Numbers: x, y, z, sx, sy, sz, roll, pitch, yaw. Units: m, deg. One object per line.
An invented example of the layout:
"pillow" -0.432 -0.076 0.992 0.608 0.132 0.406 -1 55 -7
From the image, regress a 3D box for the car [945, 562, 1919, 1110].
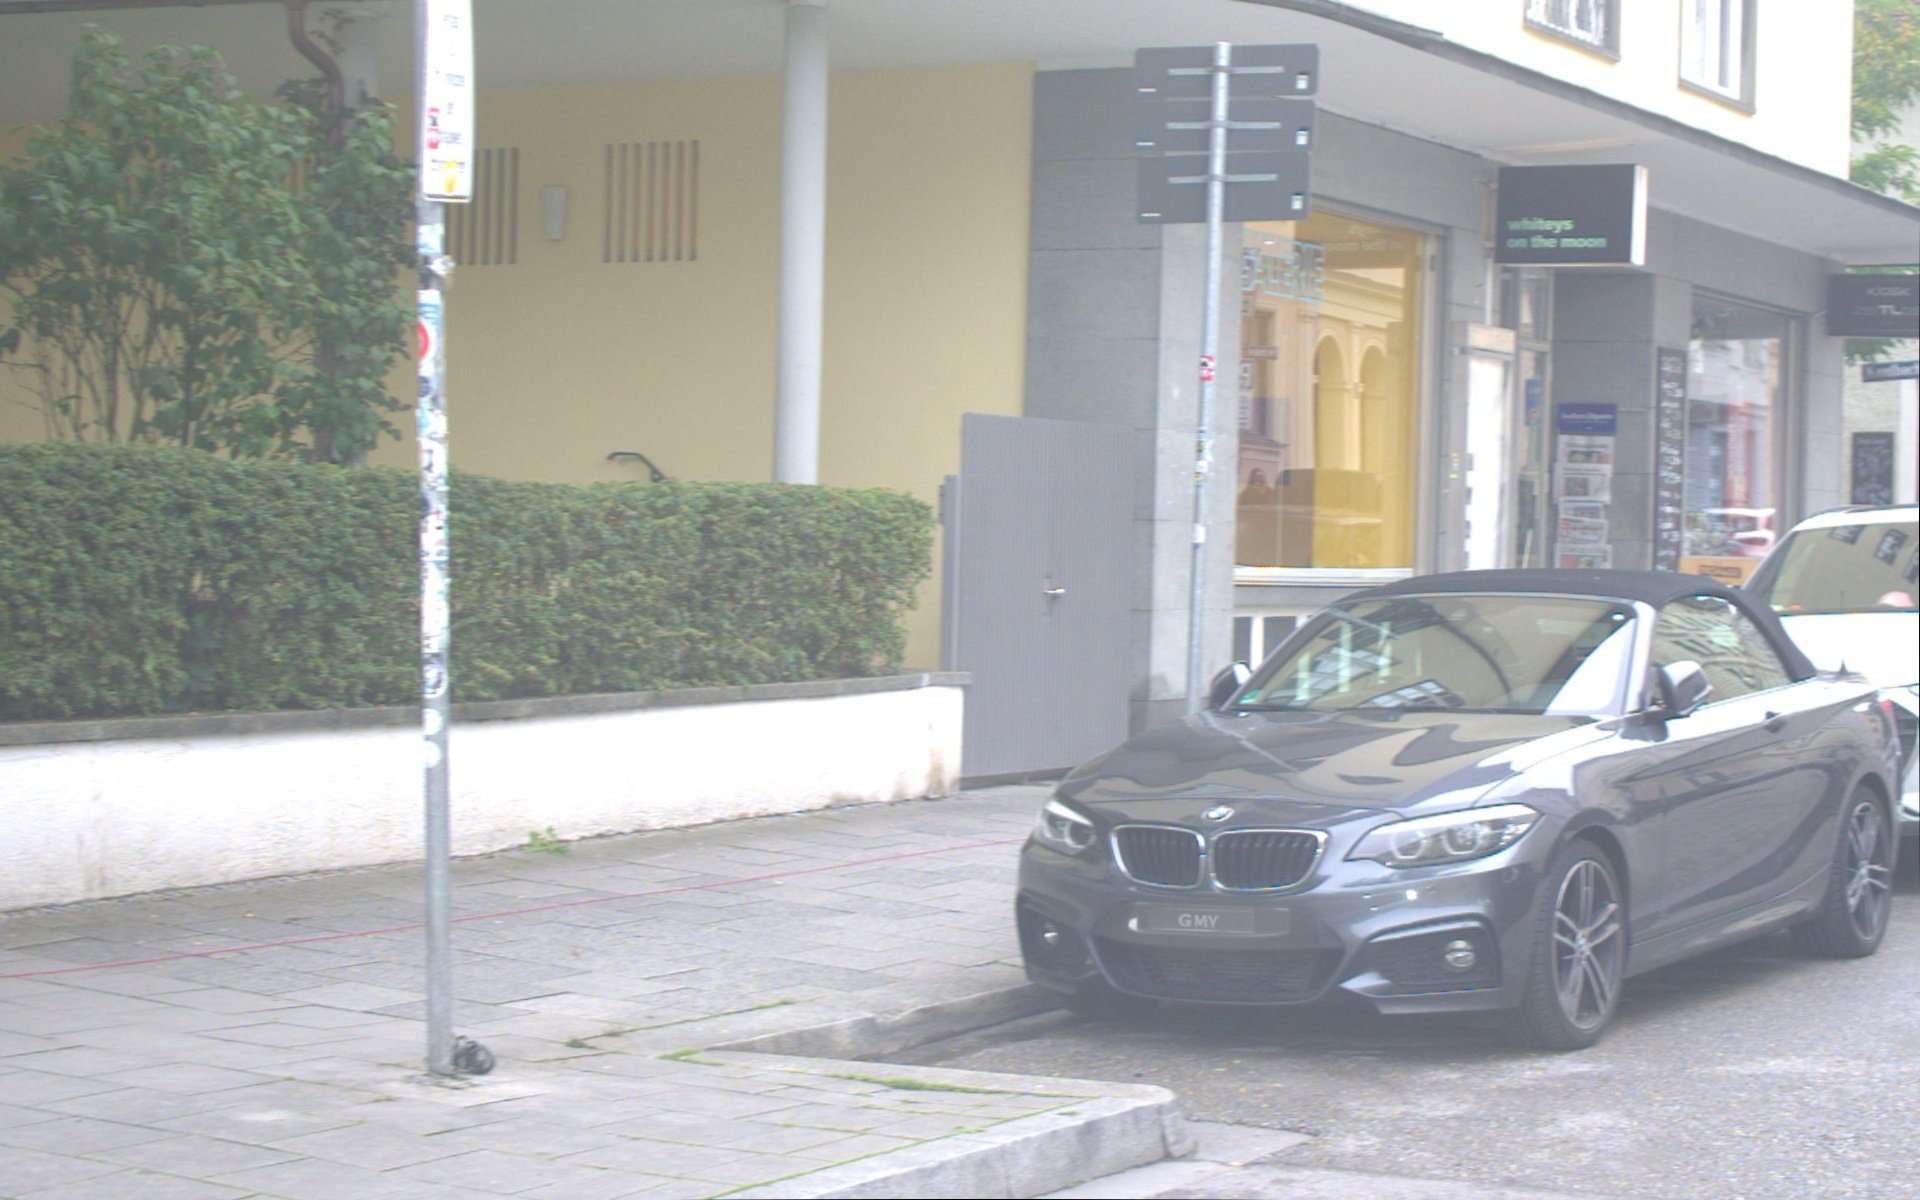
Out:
"car" 1.758 0.609 11.413 1.748 1.406 4.091 1 2 31

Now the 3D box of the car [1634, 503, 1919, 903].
"car" 4.763 0.364 16.048 1.806 1.578 4.331 1 2 31
